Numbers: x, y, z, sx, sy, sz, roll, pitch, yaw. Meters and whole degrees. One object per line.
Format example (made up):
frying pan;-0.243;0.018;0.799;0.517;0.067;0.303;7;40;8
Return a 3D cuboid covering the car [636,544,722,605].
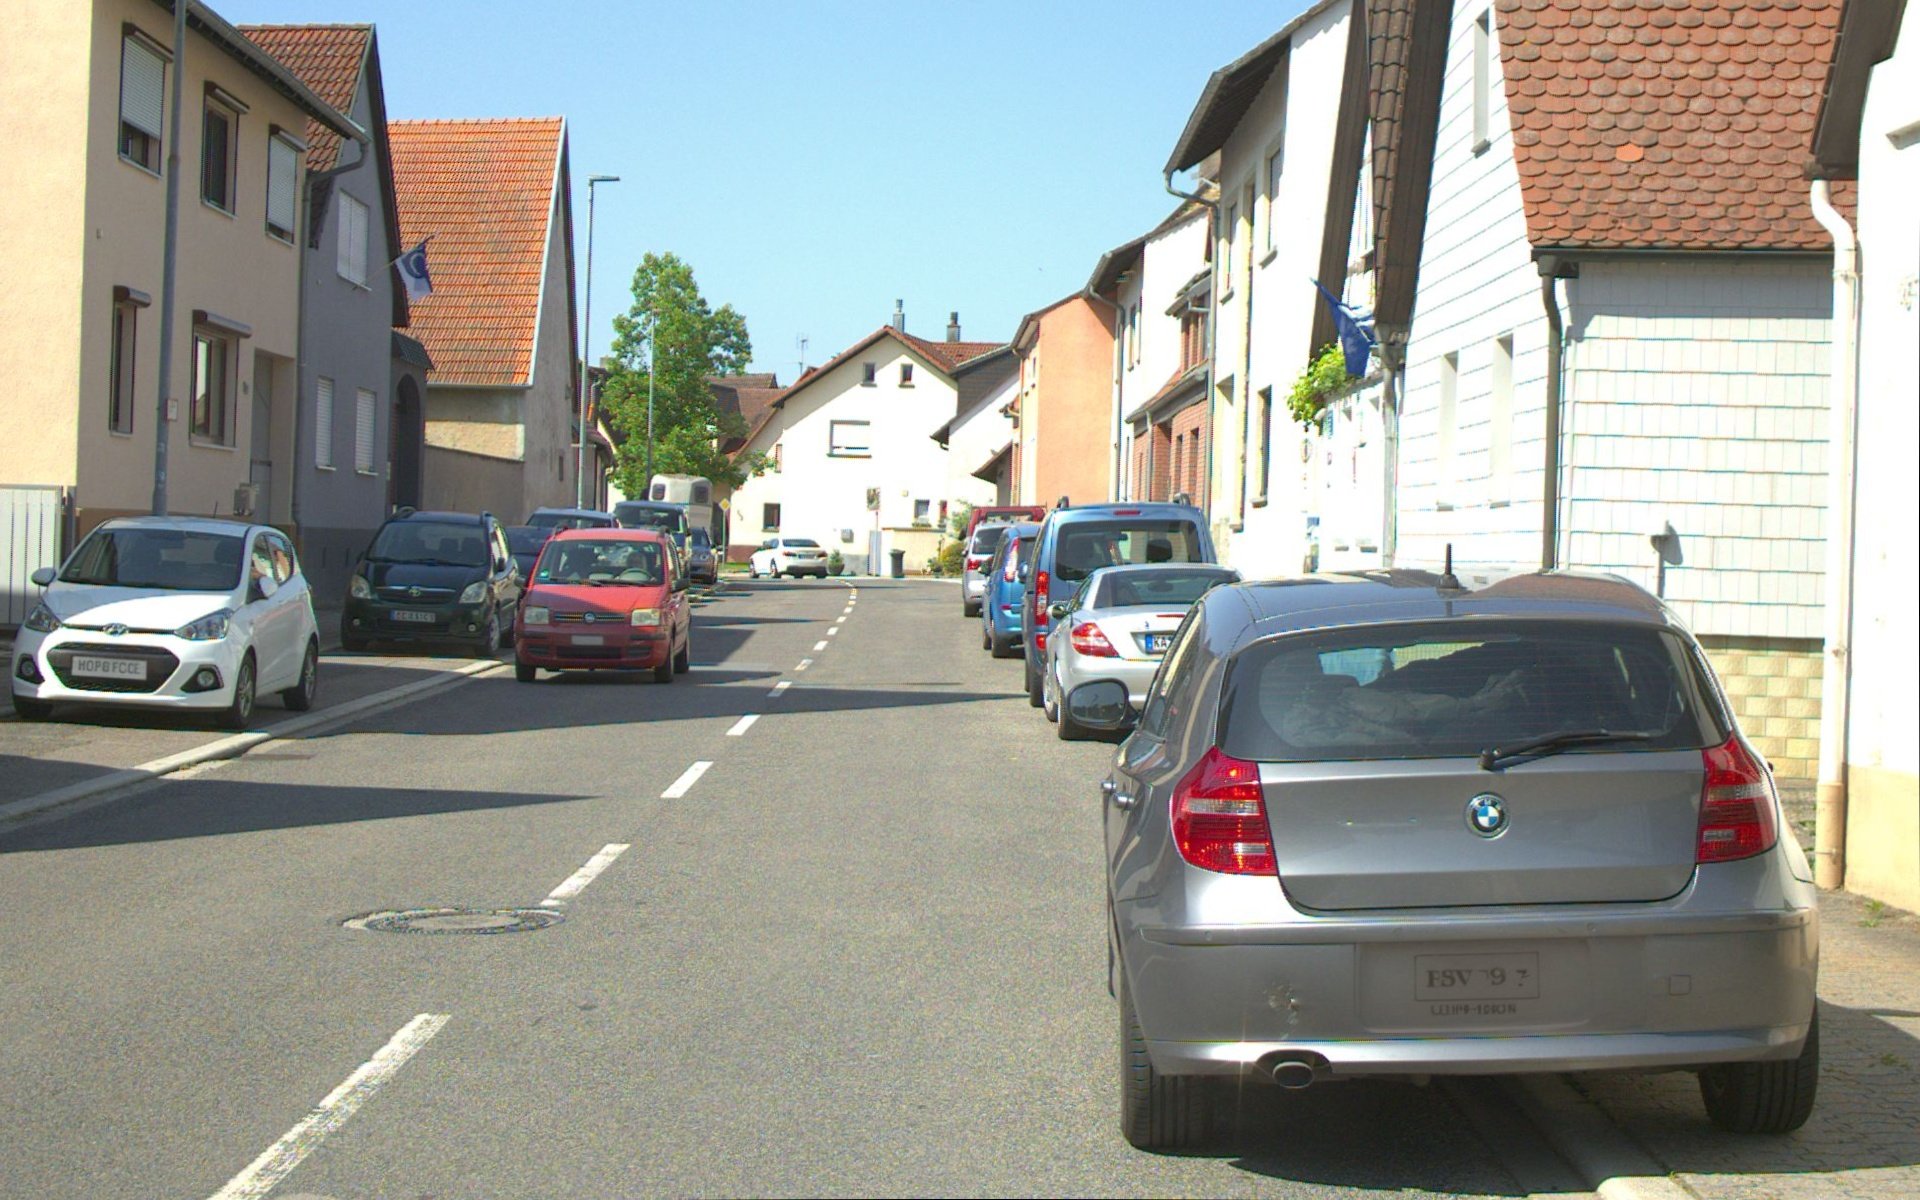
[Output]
car;-6.999;-0.642;85.907;1.754;1.437;4.000;1;0;1

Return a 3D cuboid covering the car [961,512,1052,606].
car;0.786;-0.720;59.796;1.420;1.510;3.304;3;1;-1

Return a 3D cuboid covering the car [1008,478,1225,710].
car;1.364;-0.080;31.190;1.649;1.903;3.626;3;1;-1

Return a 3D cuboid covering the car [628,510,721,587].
car;-6.336;-1.130;76.564;1.754;1.619;4.000;1;0;-1

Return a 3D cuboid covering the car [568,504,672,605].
car;-6.188;-0.837;62.890;1.527;1.707;3.626;3;1;-1

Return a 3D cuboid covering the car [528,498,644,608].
car;-6.224;-0.785;57.456;1.527;1.707;3.626;3;1;-1

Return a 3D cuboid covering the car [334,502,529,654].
car;-6.002;-0.269;39.408;1.619;1.572;3.962;3;1;-1

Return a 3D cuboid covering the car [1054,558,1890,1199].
car;1.204;0.603;9.654;1.704;1.428;3.890;0;1;-1

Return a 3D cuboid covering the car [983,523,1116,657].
car;1.069;-0.144;42.230;1.420;1.510;3.304;3;1;-1

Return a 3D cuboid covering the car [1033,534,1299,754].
car;1.507;0.291;26.319;1.704;1.491;3.453;3;1;-1

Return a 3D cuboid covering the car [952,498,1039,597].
car;0.748;-1.106;72.976;1.767;1.997;3.450;1;0;0

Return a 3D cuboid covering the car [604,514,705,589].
car;-6.183;-0.973;69.860;1.754;1.437;4.000;1;0;-1

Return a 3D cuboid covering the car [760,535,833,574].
car;-5.675;-1.564;118.935;1.993;1.284;4.001;1;1;-10

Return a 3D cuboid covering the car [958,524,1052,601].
car;0.878;-0.727;67.593;1.767;1.428;3.450;1;0;0

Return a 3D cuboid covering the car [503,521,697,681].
car;-3.648;-0.022;35.327;1.601;1.484;3.626;3;1;-1

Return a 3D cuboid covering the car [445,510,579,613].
car;-6.659;-0.574;51.357;1.504;1.448;3.509;1;0;0

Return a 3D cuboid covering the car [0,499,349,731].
car;-6.005;0.070;26.178;1.806;1.542;4.404;3;1;1
